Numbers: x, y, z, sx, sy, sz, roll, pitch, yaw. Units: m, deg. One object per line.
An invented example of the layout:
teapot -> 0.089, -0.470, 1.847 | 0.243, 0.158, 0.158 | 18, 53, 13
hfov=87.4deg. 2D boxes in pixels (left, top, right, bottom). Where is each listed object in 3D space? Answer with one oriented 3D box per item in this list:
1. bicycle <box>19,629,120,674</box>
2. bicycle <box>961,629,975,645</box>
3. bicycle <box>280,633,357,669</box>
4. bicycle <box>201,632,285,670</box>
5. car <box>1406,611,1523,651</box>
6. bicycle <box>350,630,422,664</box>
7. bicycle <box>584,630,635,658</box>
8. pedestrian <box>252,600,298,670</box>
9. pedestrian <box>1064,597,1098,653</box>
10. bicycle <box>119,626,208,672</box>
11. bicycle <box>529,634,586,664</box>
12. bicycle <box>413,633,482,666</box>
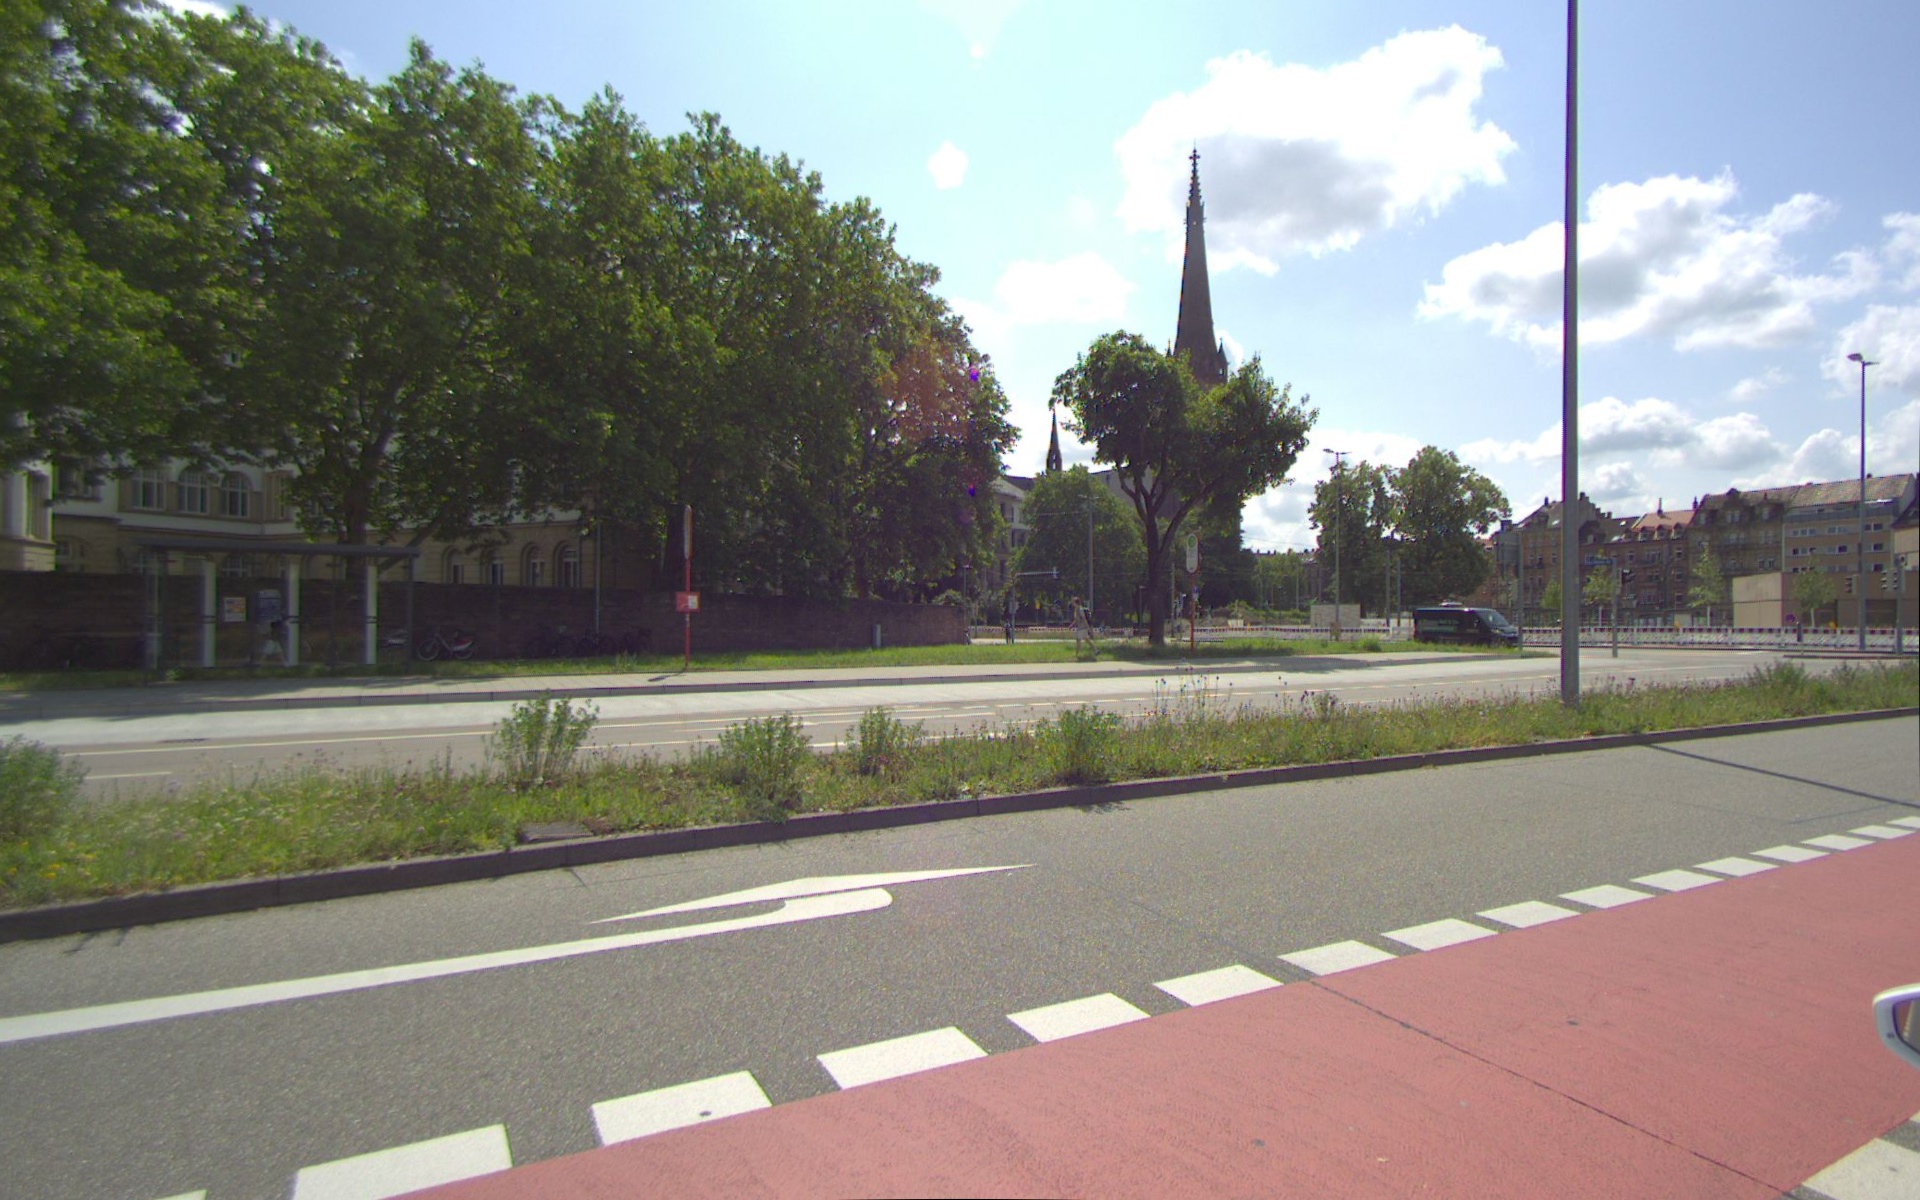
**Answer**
bicycle -> -20.151, 1.153, 22.749 | 0.538, 0.964, 1.656 | 0, -1, 43
bicycle -> 0.488, 2.190, 59.568 | 0.534, 0.914, 1.666 | 0, -1, 12
bicycle -> -17.111, 1.338, 26.833 | 0.537, 0.914, 1.658 | 0, -1, 39
bicycle -> -18.163, 1.280, 25.473 | 0.537, 0.914, 1.658 | 0, -1, 39
car -> 25.200, 1.524, 50.373 | 1.908, 1.904, 4.980 | 0, -1, -33
bicycle -> -16.095, 1.300, 28.187 | 0.537, 0.914, 1.658 | 0, -1, 39
bicycle -> -11.958, 1.499, 34.340 | 0.536, 0.914, 1.660 | 0, -1, 34
pedestrian -> -16.547, 0.831, 24.277 | 0.607, 1.638, 0.754 | 1, 0, 39
pedestrian -> 3.402, 0.700, 28.263 | 0.859, 1.580, 0.555 | 0, -1, -2
bicycle -> -19.003, 1.149, 23.984 | 0.538, 1.065, 1.615 | 0, -1, 43
bicycle -> -13.027, 1.587, 32.549 | 0.537, 0.914, 1.658 | 0, -1, 39
bicycle -> -15.118, 1.447, 29.678 | 0.446, 0.914, 1.786 | 0, -1, 39
